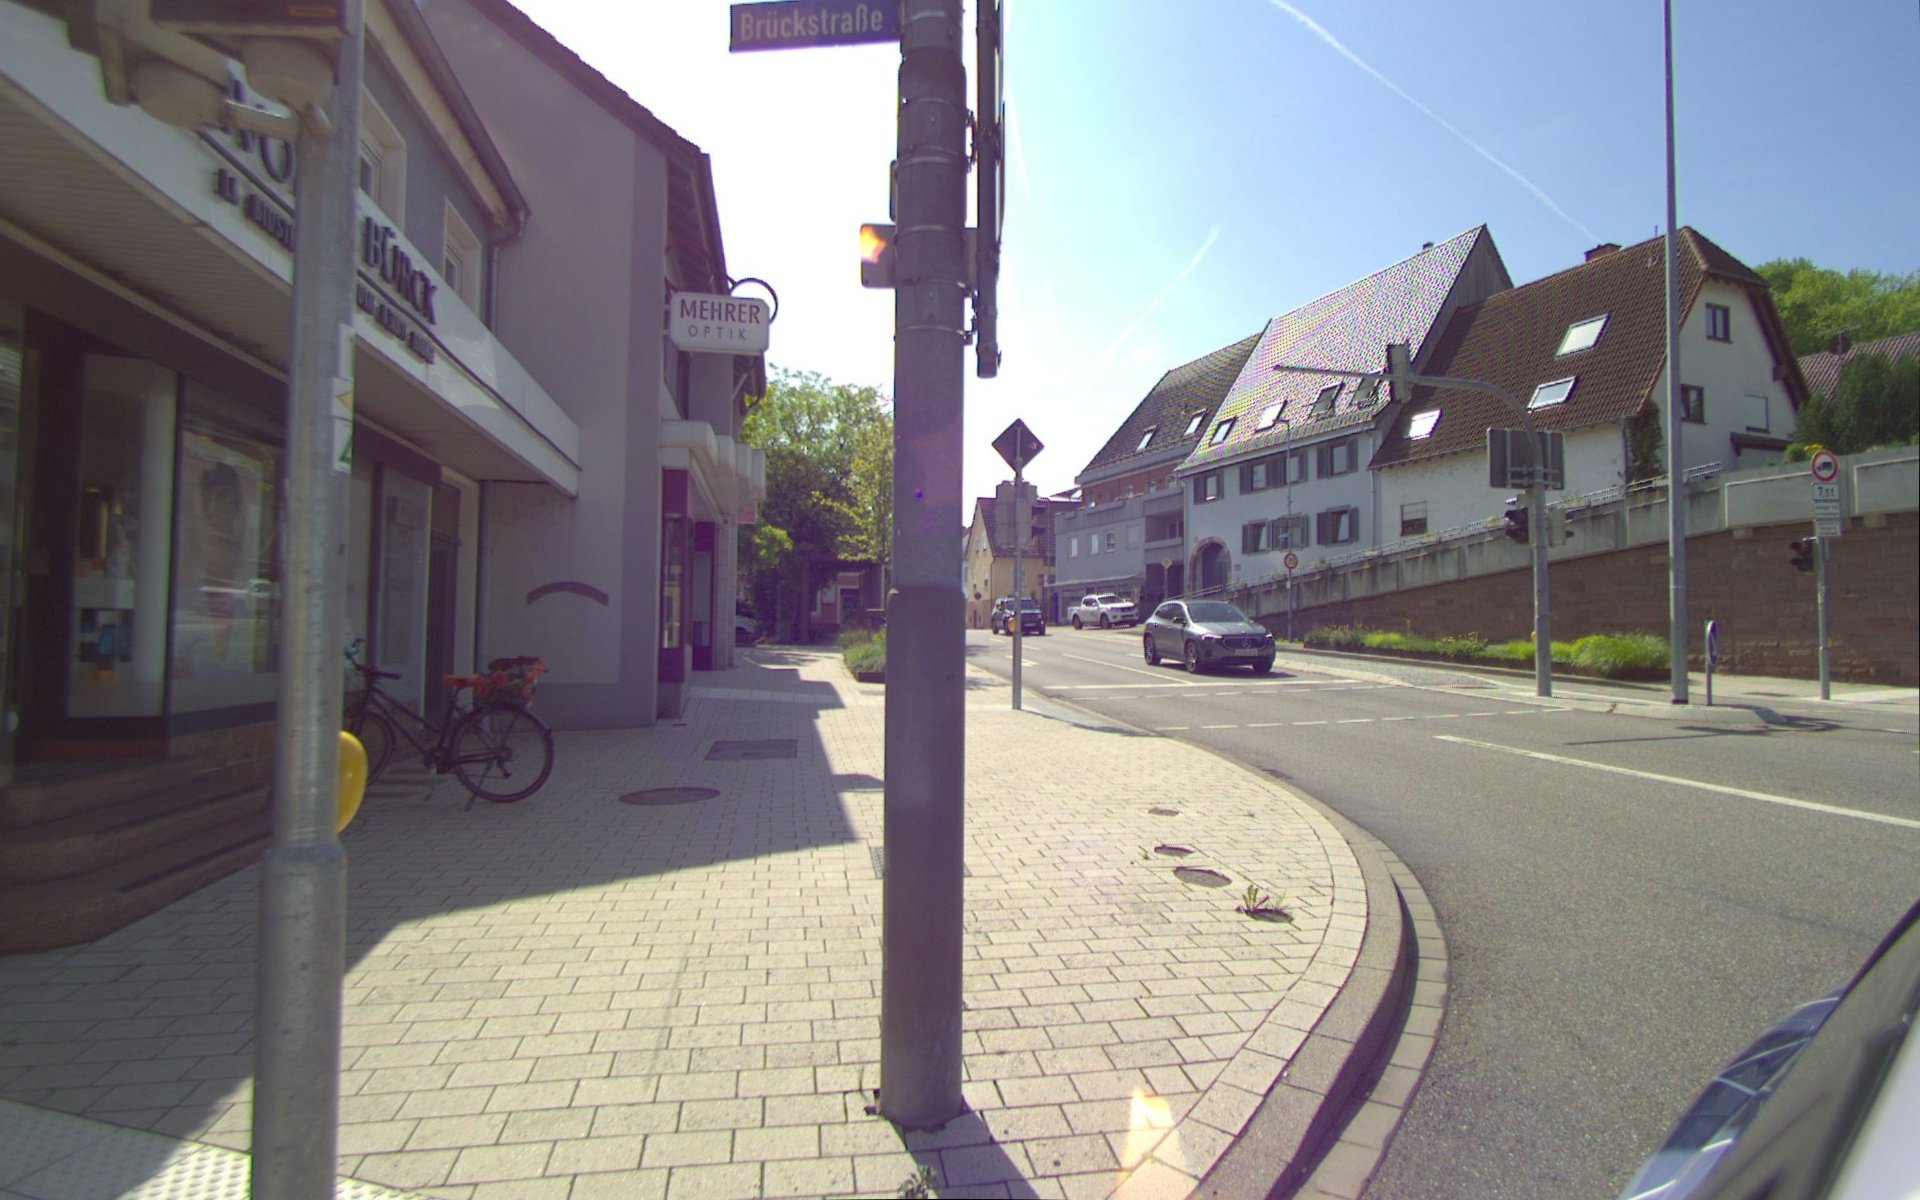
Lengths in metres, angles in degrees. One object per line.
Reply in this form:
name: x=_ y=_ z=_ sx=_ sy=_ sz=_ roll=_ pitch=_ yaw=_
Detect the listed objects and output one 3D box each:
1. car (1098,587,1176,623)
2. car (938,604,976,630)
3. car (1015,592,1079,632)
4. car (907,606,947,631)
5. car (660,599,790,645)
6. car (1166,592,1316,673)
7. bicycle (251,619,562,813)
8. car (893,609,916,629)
car: x=9.195 y=0.274 z=53.103 sx=1.772 sy=1.821 sz=5.296 roll=0 pitch=-1 yaw=-18
car: x=-0.212 y=1.066 z=65.090 sx=1.744 sy=1.562 sz=4.105 roll=-1 pitch=-1 yaw=-10
car: x=3.814 y=0.512 z=45.111 sx=1.756 sy=1.673 sz=4.400 roll=0 pitch=-1 yaw=-9
car: x=-2.118 y=1.188 z=64.500 sx=1.751 sy=1.444 sz=3.714 roll=-2 pitch=-1 yaw=-14
car: x=-8.286 y=0.751 z=35.994 sx=4.403 sy=1.564 sz=1.727 roll=0 pitch=-1 yaw=-9
car: x=6.210 y=0.662 z=22.882 sx=1.704 sy=1.593 sz=4.295 roll=-2 pitch=0 yaw=-7
bicycle: x=-3.725 y=0.766 z=6.918 sx=1.773 sy=1.250 sz=0.550 roll=1 pitch=-2 yaw=-6
car: x=-4.696 y=1.586 z=84.874 sx=1.801 sy=1.562 sz=4.173 roll=0 pitch=-1 yaw=-5
